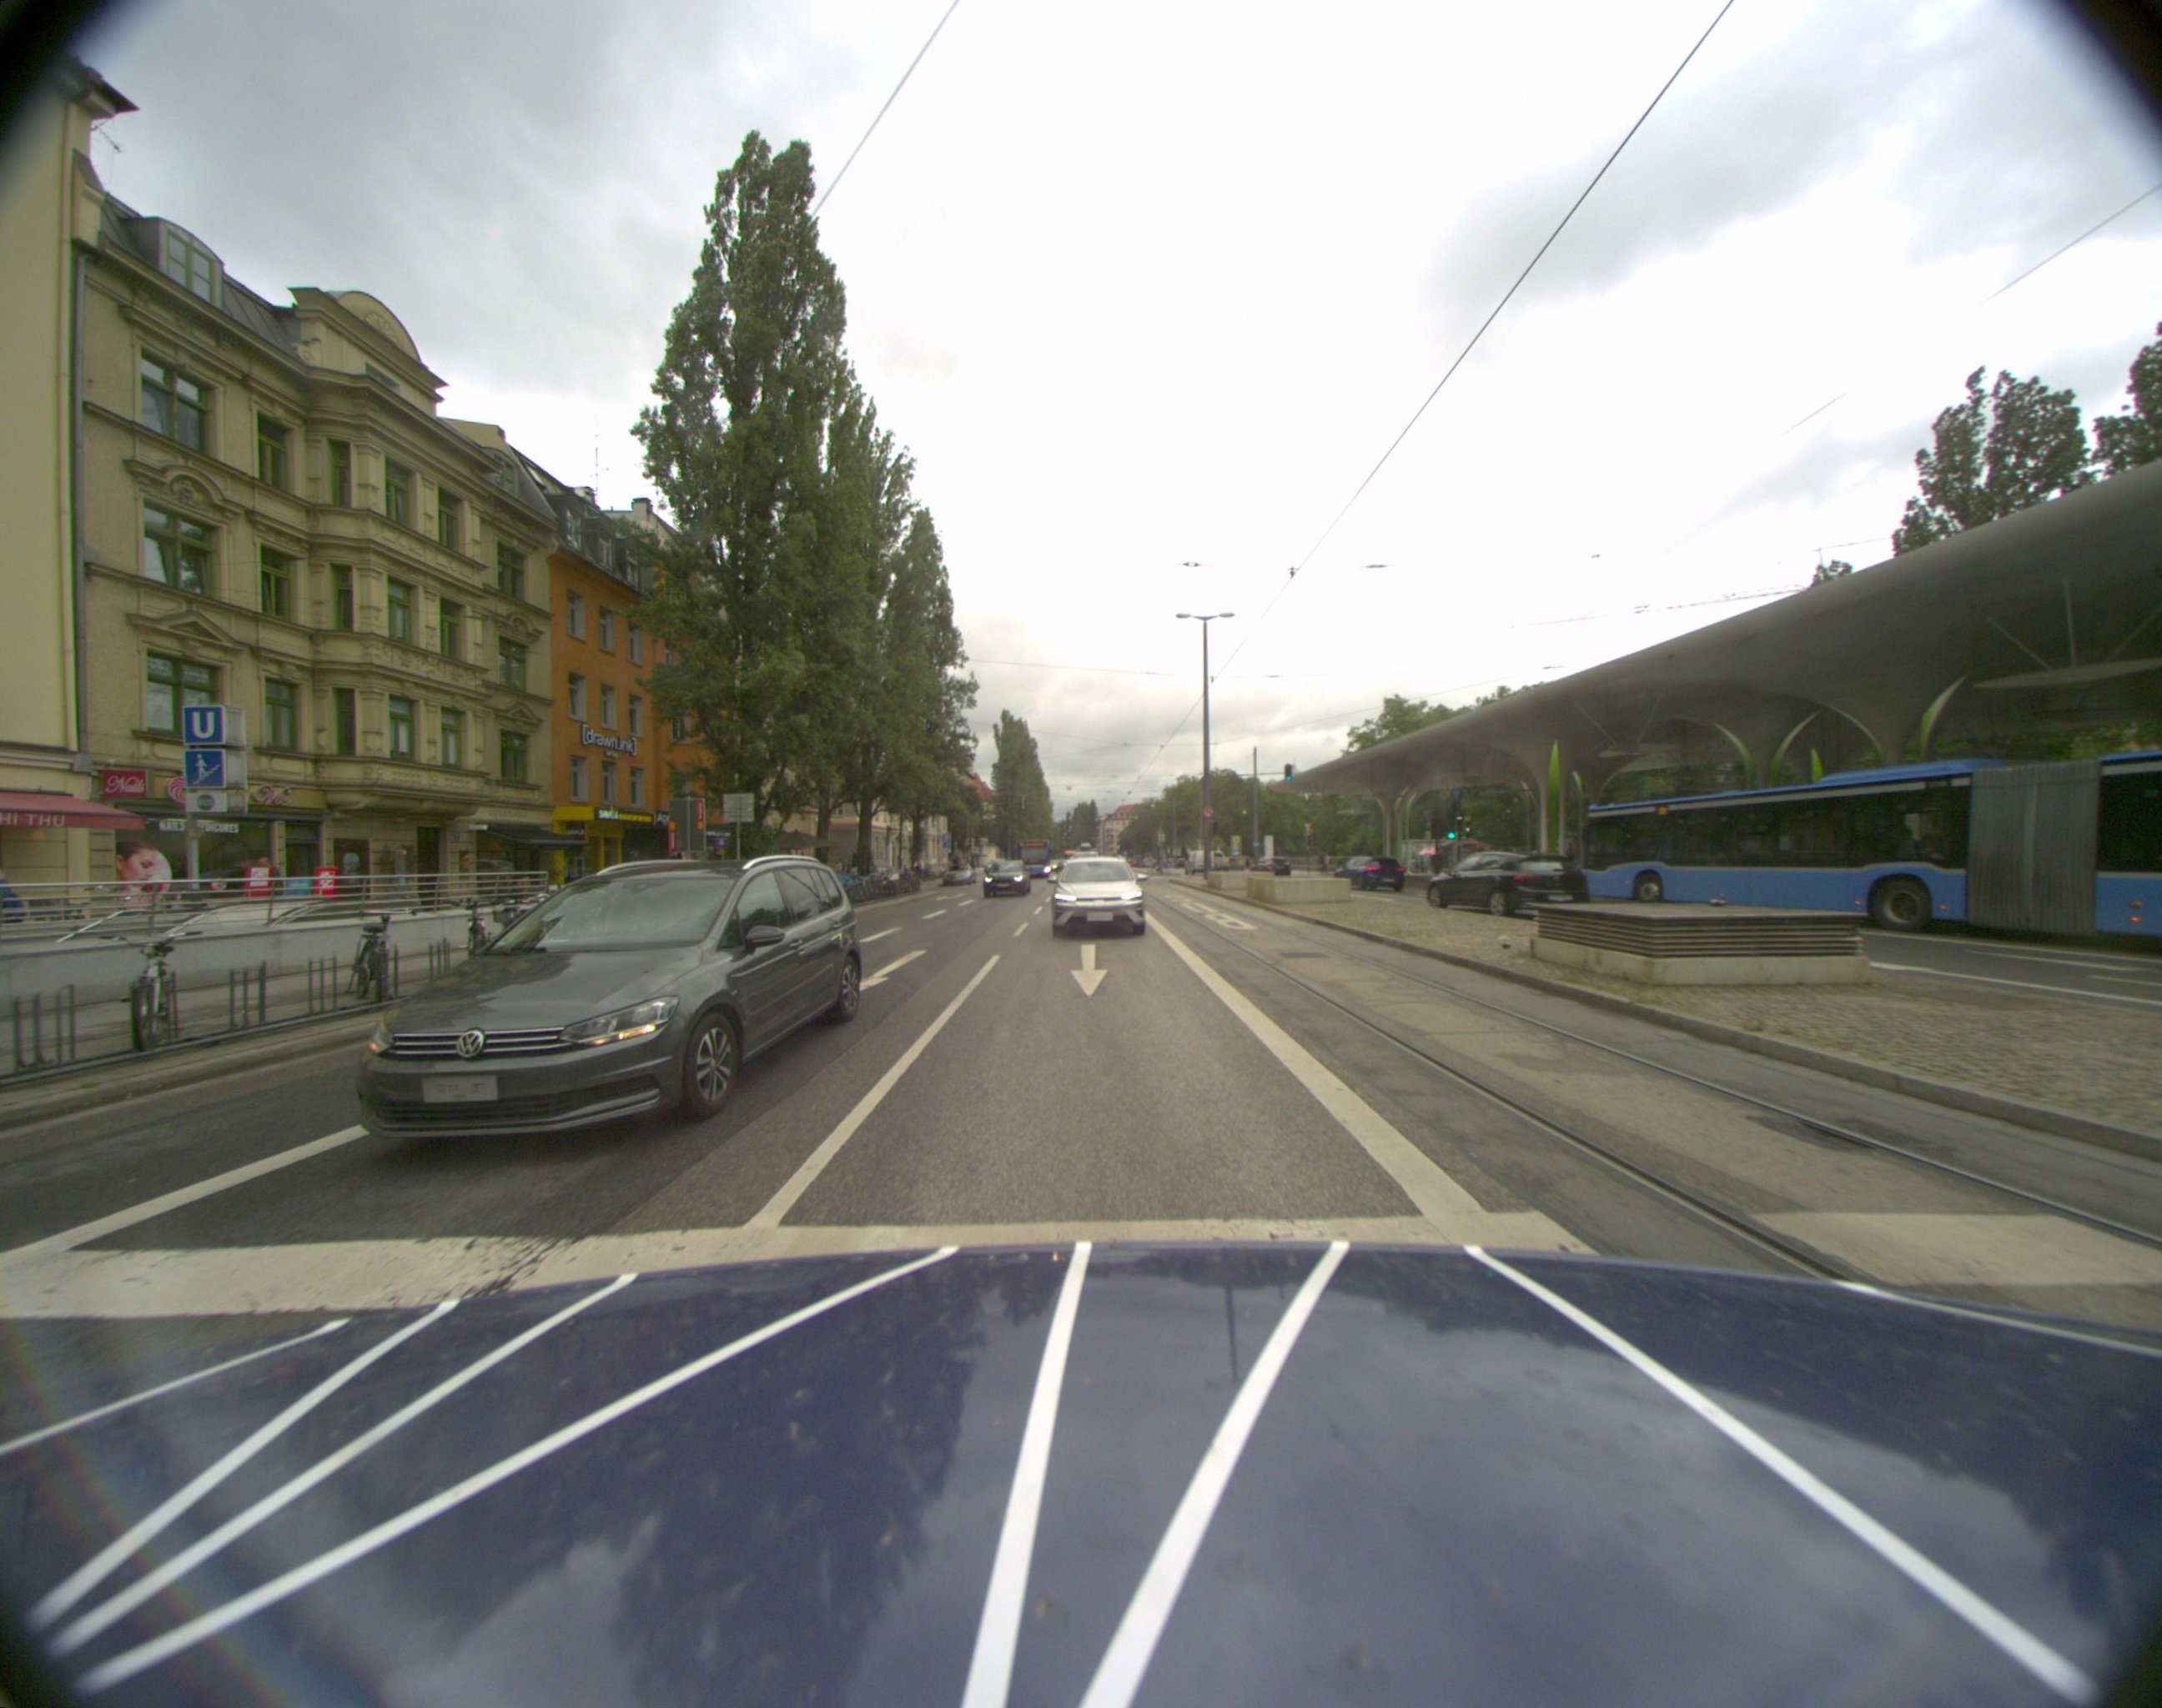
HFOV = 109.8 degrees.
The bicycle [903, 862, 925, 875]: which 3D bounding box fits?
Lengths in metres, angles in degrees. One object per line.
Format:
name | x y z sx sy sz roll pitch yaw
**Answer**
bicycle | -15.067 1.310 68.599 1.890 1.147 0.464 -2 1 -42

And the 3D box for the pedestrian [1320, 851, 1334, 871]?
pedestrian | 20.166 0.562 62.331 0.739 1.619 0.741 -1 1 -20

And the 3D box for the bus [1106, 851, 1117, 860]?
bus | 9.759 0.439 243.300 2.632 2.949 13.414 1 0 -1

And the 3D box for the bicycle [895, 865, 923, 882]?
bicycle | -12.077 1.353 53.305 1.801 1.103 0.447 -3 0 2

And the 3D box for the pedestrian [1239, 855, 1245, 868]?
pedestrian | 18.673 0.891 88.245 0.632 1.549 0.589 0 0 0

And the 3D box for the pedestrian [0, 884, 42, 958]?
pedestrian | -19.894 1.231 14.076 0.496 1.324 0.552 -1 1 1

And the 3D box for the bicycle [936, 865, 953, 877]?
bicycle | -12.259 1.543 68.149 0.445 1.017 1.842 -1 1 27

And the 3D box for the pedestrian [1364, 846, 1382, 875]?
pedestrian | 18.318 0.414 47.722 0.667 1.828 0.808 -1 1 -31

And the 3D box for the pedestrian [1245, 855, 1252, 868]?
pedestrian | 19.474 0.852 88.396 0.632 1.549 0.589 0 0 0

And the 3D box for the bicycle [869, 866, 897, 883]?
bicycle | -13.897 1.443 53.316 1.801 1.103 0.447 -2 0 2

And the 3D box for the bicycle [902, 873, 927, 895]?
bicycle | -7.905 1.424 35.946 0.376 0.990 1.837 -1 -1 -38

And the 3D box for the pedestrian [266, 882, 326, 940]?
pedestrian | -17.204 1.242 16.667 0.602 1.215 0.666 -1 1 1

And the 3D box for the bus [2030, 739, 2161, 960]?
bus | 15.917 -0.042 7.936 2.667 2.990 7.514 1 0 1

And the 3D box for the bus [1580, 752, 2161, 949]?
bus | 15.964 -0.037 16.958 2.667 2.990 10.515 1 0 0

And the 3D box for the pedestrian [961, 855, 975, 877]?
pedestrian | -8.566 0.939 57.586 0.758 1.628 0.699 -1 -1 -43

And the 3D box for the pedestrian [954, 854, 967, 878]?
pedestrian | -9.056 0.867 57.030 0.699 1.770 0.652 -2 0 34

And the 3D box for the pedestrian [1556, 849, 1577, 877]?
pedestrian | 35.297 0.631 55.280 1.003 2.002 1.028 -1 1 12

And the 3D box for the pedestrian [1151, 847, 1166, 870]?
pedestrian | 6.141 0.333 60.076 0.861 1.801 0.896 -2 1 -20

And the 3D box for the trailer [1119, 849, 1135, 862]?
trailer | 10.090 0.374 168.272 2.616 2.666 15.639 1 0 0

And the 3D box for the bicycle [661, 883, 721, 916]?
bicycle | -13.031 1.527 25.398 1.727 1.039 0.387 -1 -1 -5

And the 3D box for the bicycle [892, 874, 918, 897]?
bicycle | -7.991 1.427 34.542 0.376 0.990 1.837 -1 -1 -38

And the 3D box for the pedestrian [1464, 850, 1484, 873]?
pedestrian | 30.622 0.587 59.170 1.031 1.752 0.957 -1 0 1

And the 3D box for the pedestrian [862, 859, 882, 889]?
pedestrian | -11.232 1.081 40.852 0.761 1.553 0.763 -1 0 2

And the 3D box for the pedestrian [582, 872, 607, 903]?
pedestrian | -19.754 1.359 30.844 0.624 1.211 0.583 -1 1 0

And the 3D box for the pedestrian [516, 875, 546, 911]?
pedestrian | -19.555 1.381 27.021 0.584 1.273 0.583 -1 1 0

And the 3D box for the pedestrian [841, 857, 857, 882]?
pedestrian | -16.229 1.083 53.183 0.748 1.675 1.017 -1 0 1

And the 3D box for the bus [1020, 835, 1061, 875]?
bus | -3.261 0.127 63.061 2.637 2.956 9.466 -3 0 1

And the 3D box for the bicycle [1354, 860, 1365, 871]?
bicycle | 23.723 0.956 64.706 0.479 0.889 1.850 -1 0 8

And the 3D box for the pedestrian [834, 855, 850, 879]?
pedestrian | -17.183 0.938 54.634 0.748 1.704 1.017 -1 0 1

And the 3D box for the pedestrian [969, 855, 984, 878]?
pedestrian | -8.029 0.955 58.569 0.881 1.791 0.757 -2 0 11

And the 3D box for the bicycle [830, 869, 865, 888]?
bicycle | -13.881 1.463 45.197 1.892 1.107 0.458 -1 1 -2

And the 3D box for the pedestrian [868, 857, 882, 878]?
pedestrian | -15.604 1.009 57.569 0.848 1.593 0.823 -1 0 0

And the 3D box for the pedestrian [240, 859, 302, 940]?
pedestrian | -17.726 0.981 16.644 0.602 1.729 0.666 -1 1 1

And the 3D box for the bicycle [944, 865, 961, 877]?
bicycle | -11.504 1.504 68.121 0.445 1.017 1.842 -1 1 27

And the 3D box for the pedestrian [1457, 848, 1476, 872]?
pedestrian | 25.912 0.423 51.092 0.749 1.600 0.837 -1 1 -28

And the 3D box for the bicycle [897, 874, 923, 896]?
bicycle | -7.959 1.426 35.306 0.376 0.990 1.837 -1 -1 -38

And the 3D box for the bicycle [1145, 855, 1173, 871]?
bicycle | 6.213 0.703 60.348 2.233 1.143 0.505 -2 1 -21

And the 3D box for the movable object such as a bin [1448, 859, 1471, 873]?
movable object such as a bin | 29.454 0.915 59.183 1.336 1.078 0.957 -1 0 1

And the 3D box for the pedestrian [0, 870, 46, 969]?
pedestrian | -18.266 1.097 12.737 0.712 1.623 0.786 -1 1 1

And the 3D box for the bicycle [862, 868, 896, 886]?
bicycle | -12.009 1.370 45.218 1.892 1.048 0.458 -1 1 -2

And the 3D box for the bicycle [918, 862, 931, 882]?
bicycle | -10.275 1.181 49.846 0.424 1.280 1.778 -1 0 2

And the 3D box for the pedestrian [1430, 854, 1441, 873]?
pedestrian | 29.920 0.790 64.093 0.739 1.591 0.798 -1 0 16

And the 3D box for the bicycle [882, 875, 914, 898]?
bicycle | -7.994 1.426 33.098 1.837 0.990 0.376 -3 -1 43

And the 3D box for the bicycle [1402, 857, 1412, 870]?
bicycle | 27.380 0.790 63.866 0.479 1.090 1.851 -1 0 14

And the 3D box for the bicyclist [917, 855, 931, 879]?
bicyclist | -10.256 0.838 49.769 0.681 1.594 0.939 -1 0 1

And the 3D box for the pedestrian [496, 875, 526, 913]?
pedestrian | -19.644 1.383 26.182 0.584 1.273 0.583 -1 1 0

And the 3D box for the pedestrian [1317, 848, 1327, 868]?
pedestrian | 21.025 0.380 66.203 0.735 1.706 0.861 -1 1 11

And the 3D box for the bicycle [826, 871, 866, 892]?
bicycle | -12.216 1.408 39.523 1.892 1.048 0.458 -1 1 2

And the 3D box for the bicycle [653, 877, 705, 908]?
bicycle | -13.933 1.335 26.330 1.725 1.039 0.388 -2 -1 12
